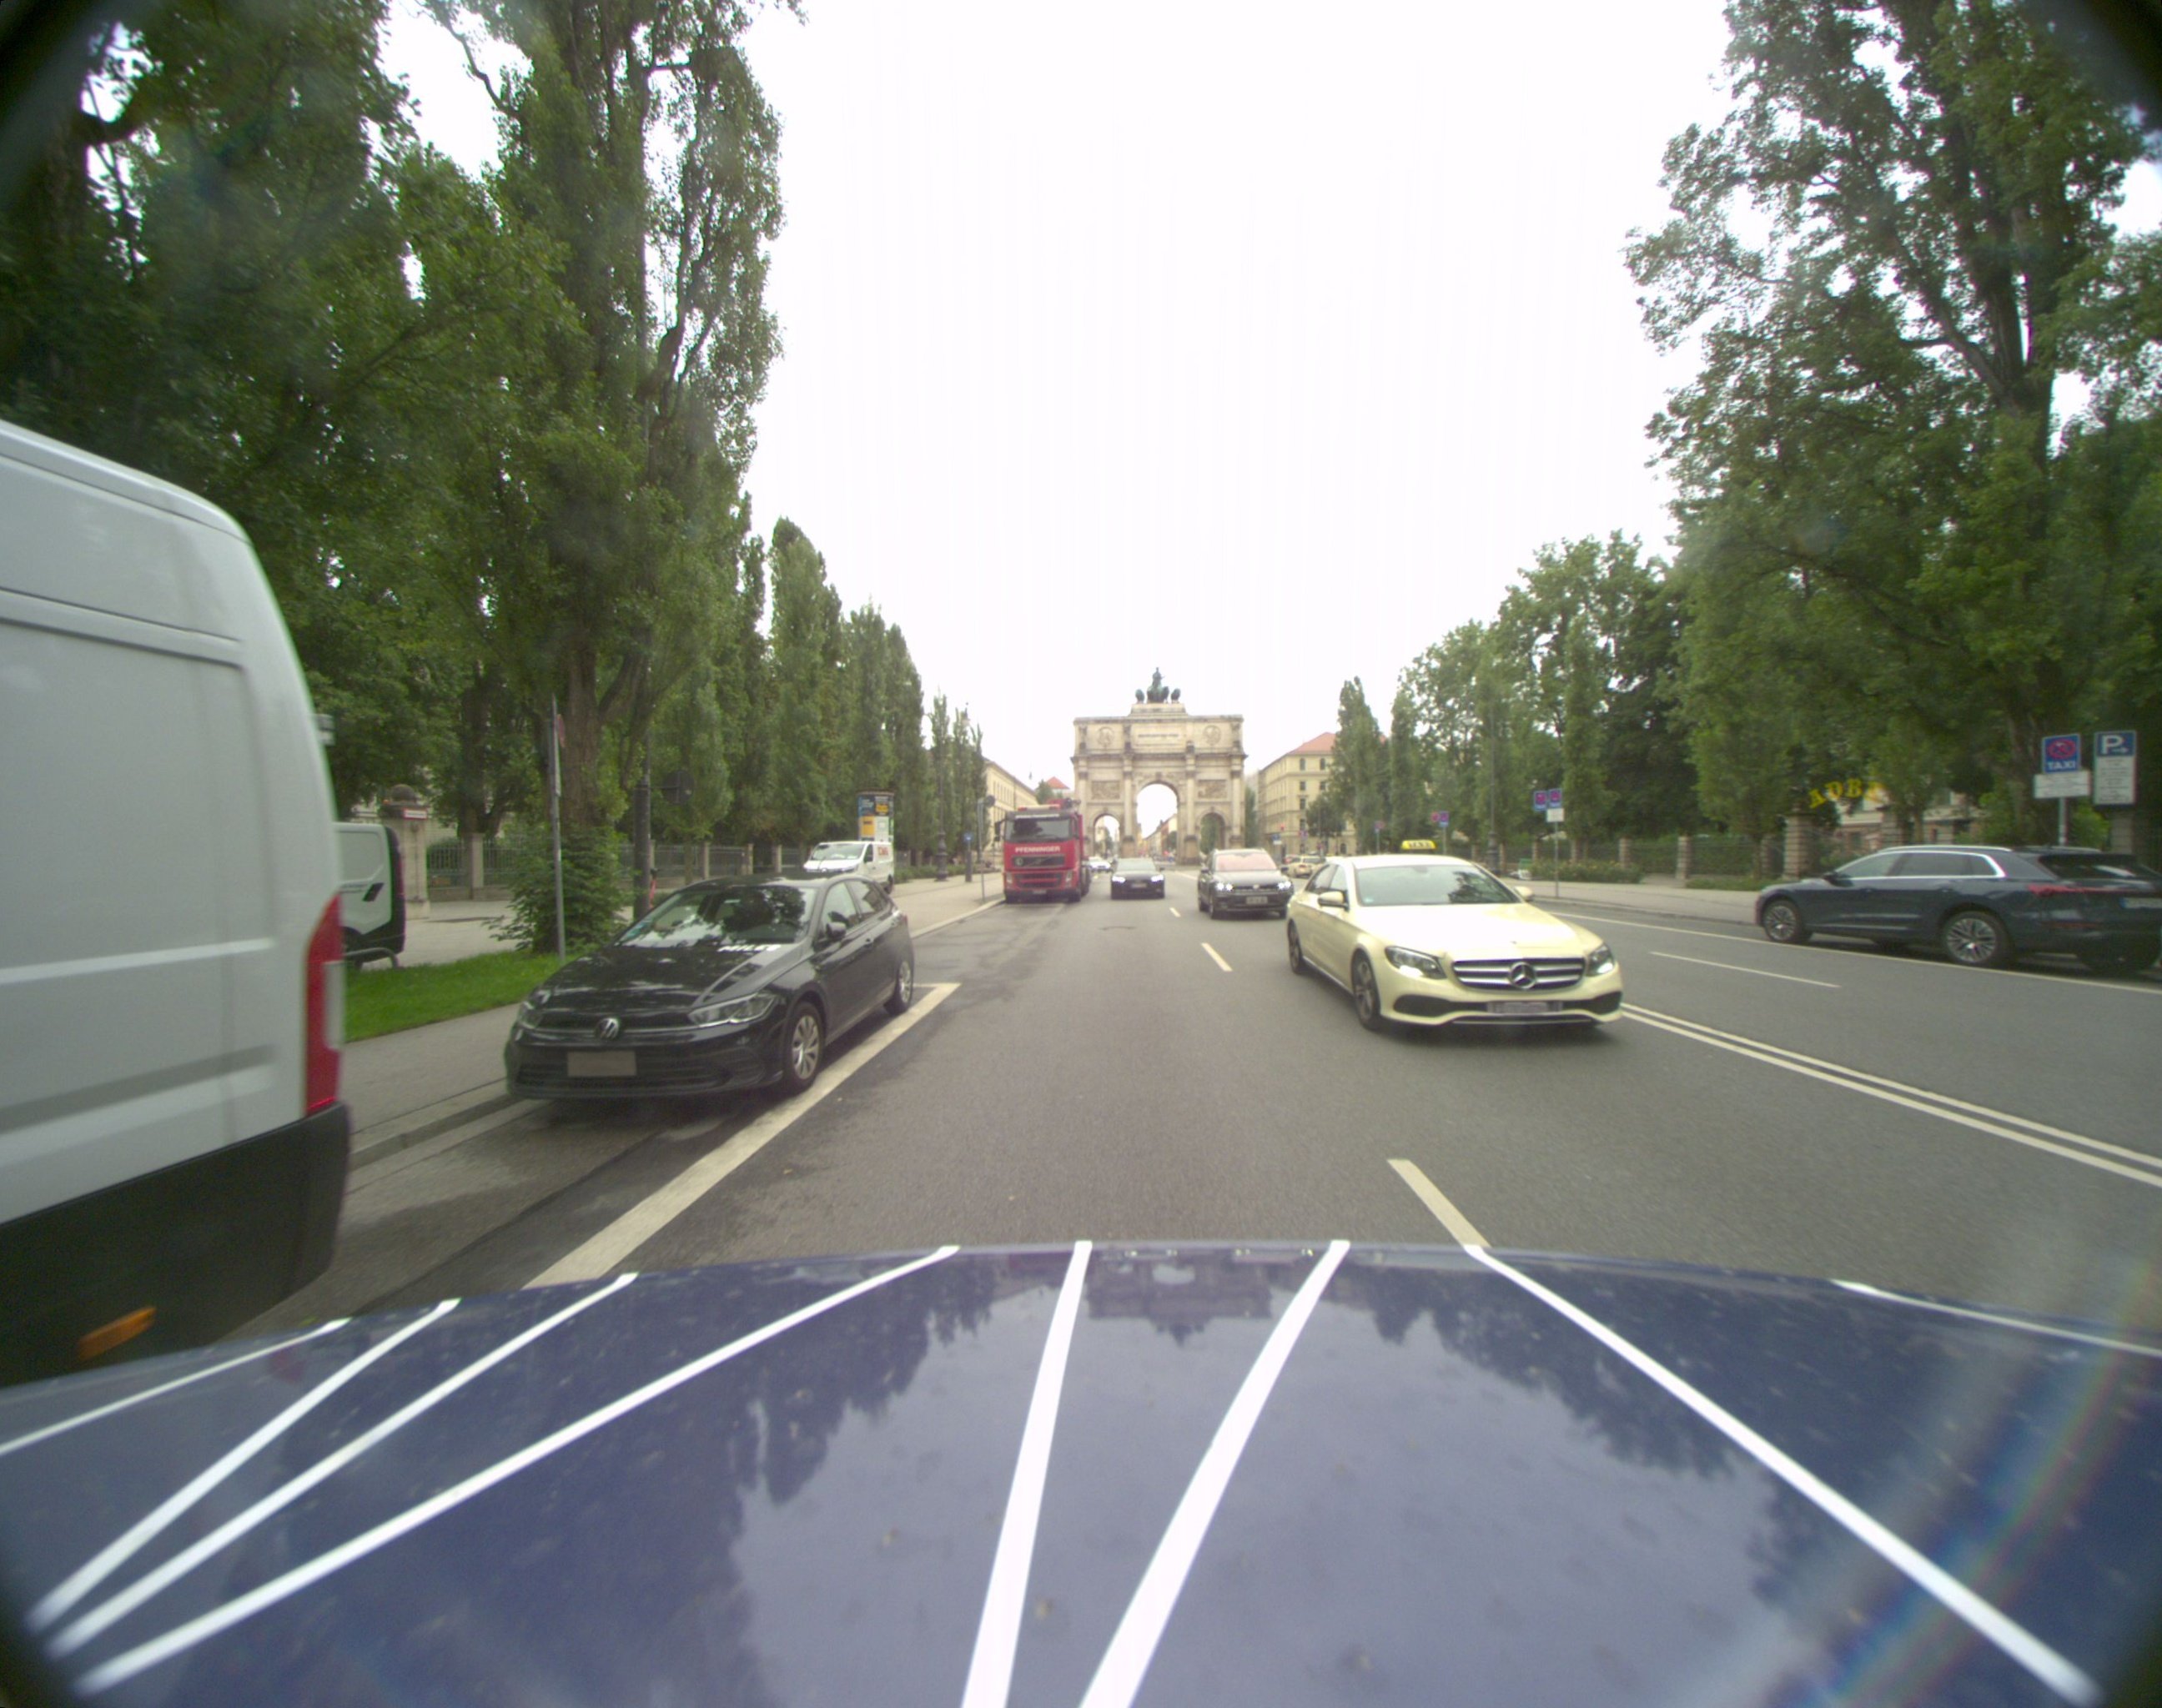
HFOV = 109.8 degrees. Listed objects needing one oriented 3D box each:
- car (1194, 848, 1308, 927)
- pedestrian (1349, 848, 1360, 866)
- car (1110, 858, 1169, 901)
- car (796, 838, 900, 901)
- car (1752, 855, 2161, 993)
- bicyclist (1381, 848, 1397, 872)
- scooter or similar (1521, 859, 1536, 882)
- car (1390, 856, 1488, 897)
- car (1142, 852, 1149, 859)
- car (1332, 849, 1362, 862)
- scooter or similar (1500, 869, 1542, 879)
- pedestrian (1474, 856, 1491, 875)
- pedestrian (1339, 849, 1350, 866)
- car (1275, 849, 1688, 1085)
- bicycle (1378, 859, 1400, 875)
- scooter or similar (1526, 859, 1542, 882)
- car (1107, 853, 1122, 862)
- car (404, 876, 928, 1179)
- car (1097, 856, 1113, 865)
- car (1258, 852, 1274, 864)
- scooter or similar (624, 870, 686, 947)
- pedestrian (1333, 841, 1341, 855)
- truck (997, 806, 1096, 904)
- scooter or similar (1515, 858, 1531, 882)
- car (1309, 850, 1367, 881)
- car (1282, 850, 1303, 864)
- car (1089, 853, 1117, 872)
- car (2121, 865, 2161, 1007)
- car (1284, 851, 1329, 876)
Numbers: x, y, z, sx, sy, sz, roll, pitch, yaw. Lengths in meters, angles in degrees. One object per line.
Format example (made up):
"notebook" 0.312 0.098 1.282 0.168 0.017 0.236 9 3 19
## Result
"car" 3.958 0.698 18.430 1.953 1.615 4.412 -2 0 3
"pedestrian" 25.694 0.311 71.341 0.846 1.668 0.967 0 0 9
"car" 2.049 0.857 27.736 1.922 1.320 4.411 -2 0 2
"car" -7.892 0.489 26.263 1.885 1.933 4.885 -2 0 2
"car" 12.771 0.834 11.210 1.786 1.586 4.614 1 0 3
"bicyclist" 19.436 0.400 47.982 0.695 1.489 0.861 0 0 2
"scooter or similar" 23.910 0.878 40.597 0.243 1.194 1.122 0 1 4
"car" 13.983 0.849 30.025 1.935 1.488 4.792 0 0 4
"car" 19.862 0.390 235.680 1.998 2.002 4.395 0 0 3
"car" 41.588 0.201 118.698 3.996 2.002 2.000 0 0 3
"scooter or similar" 25.731 1.141 44.415 2.241 0.515 1.329 0 0 -37
"pedestrian" 27.967 0.815 52.924 0.578 1.329 0.838 0 0 -23
"pedestrian" 24.887 0.326 71.744 0.846 1.668 0.967 0 0 9
"car" 3.338 0.773 7.573 1.919 1.566 4.690 -2 0 5
"bicycle" 19.428 0.813 47.915 0.709 0.933 1.735 -1 0 2
"scooter or similar" 24.173 0.873 40.577 0.243 1.194 1.122 0 1 4
"car" 6.675 0.636 150.025 1.784 1.739 4.327 0 0 20
"car" -2.628 0.993 6.056 1.758 1.441 4.001 -3 0 3
"car" 4.567 1.176 144.677 1.784 1.739 4.327 0 0 19
"car" 26.446 0.571 108.585 1.784 1.662 4.002 0 0 8
"scooter or similar" -7.414 0.926 13.269 0.337 1.258 1.186 0 1 4
"pedestrian" 36.061 -0.868 107.183 0.796 2.002 0.754 -1 1 -31
"truck" -0.997 0.026 29.407 2.719 3.092 10.429 0 0 4
"scooter or similar" 23.638 0.831 40.615 0.258 1.235 1.141 0 1 4
"car" 14.910 0.618 44.409 1.942 1.615 4.965 0 1 3
"car" 30.097 0.450 108.384 2.003 1.844 4.991 1 1 5
"car" 2.152 0.809 75.405 1.891 1.846 4.308 -1 0 -11
"car" 12.820 0.926 6.382 1.895 1.575 4.655 1 0 3
"car" 15.187 0.605 51.414 1.822 1.550 4.859 1 1 3
